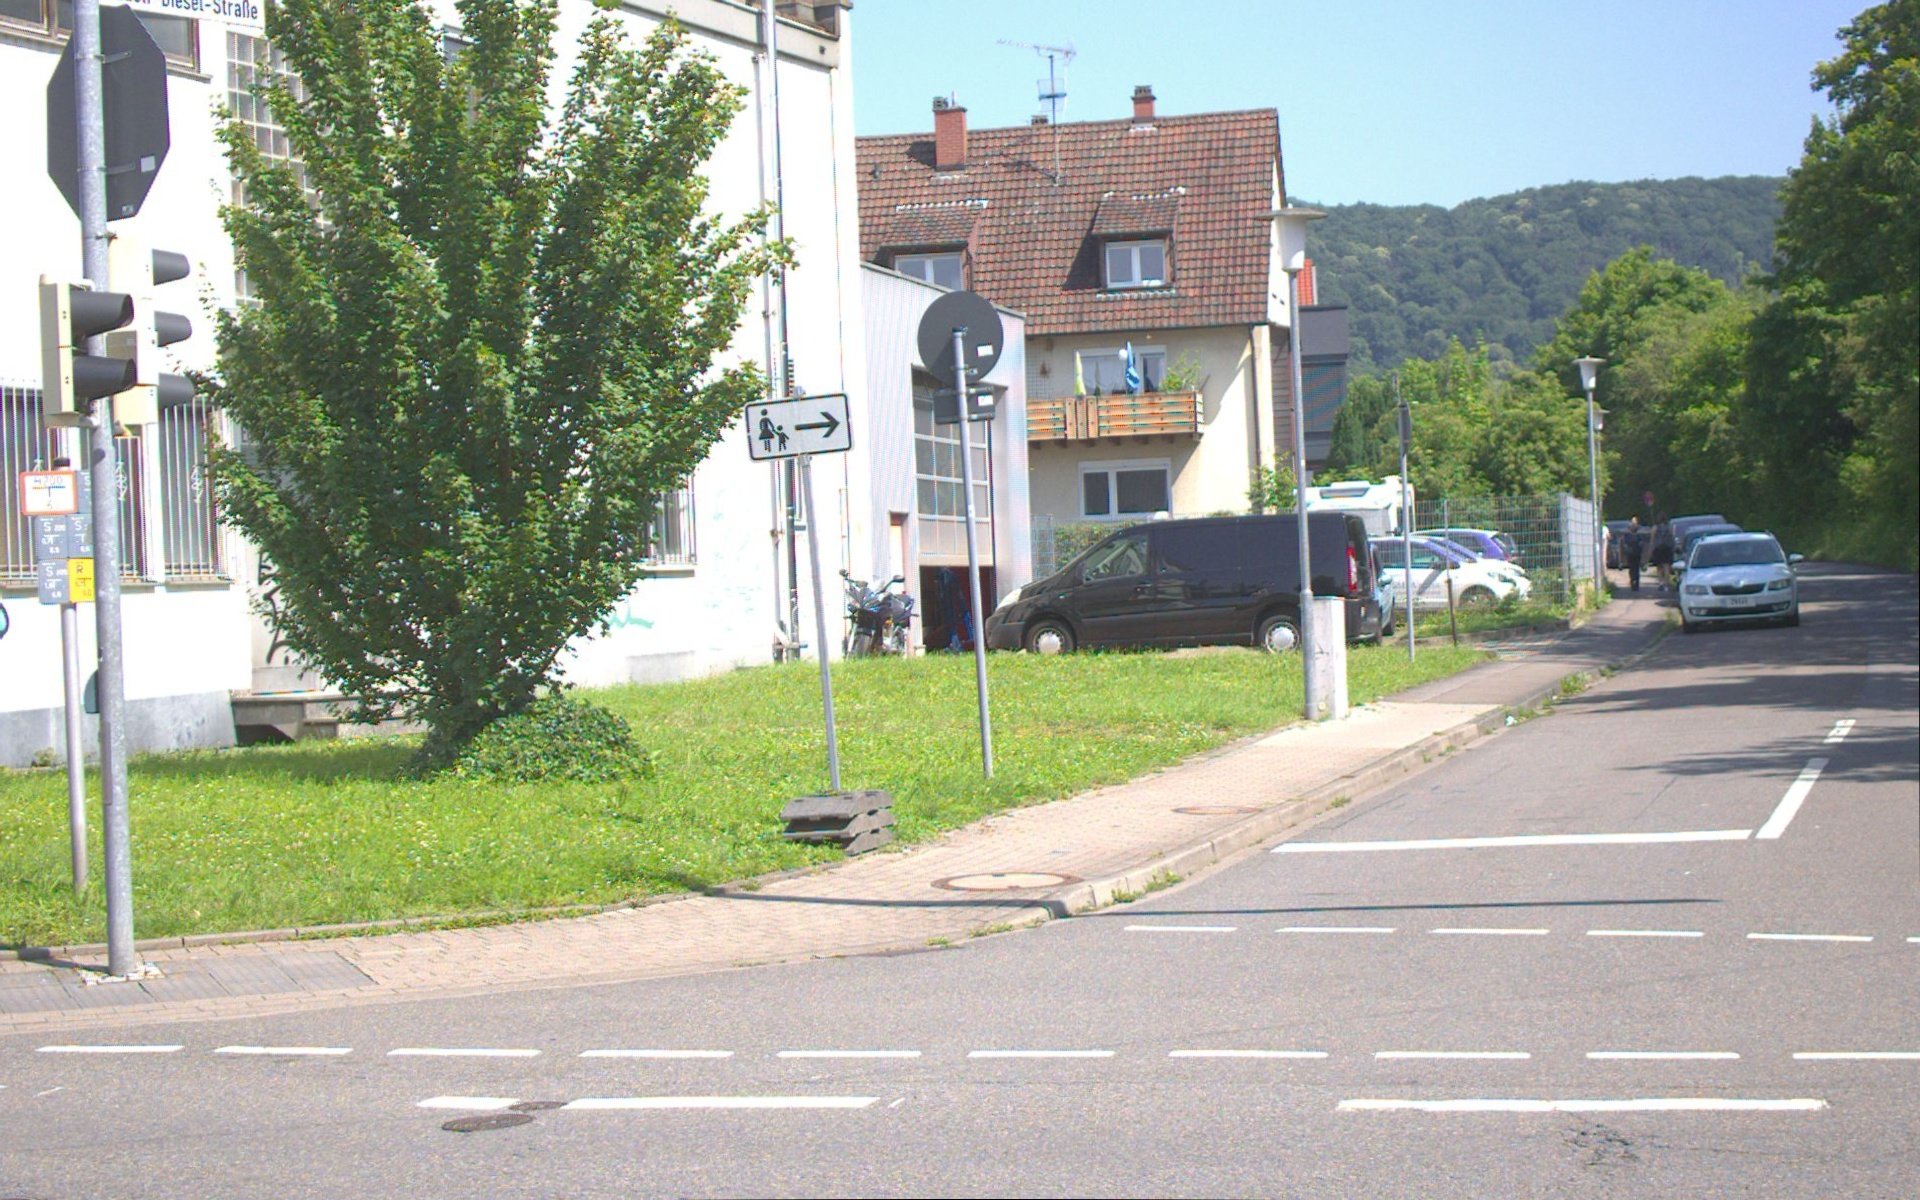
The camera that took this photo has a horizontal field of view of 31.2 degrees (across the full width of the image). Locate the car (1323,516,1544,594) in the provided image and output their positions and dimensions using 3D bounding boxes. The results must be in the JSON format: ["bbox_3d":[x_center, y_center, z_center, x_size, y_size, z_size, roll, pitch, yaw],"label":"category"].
[{"bbox_3d":[8.491,-0.792,61.560,3.723,1.367,1.603,0,0,16],"label":"car"}]

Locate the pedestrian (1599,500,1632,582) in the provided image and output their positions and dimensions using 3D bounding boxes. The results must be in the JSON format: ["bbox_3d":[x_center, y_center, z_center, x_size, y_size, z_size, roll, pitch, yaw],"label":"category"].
[{"bbox_3d":[14.175,-1.273,74.316,0.654,1.757,0.803,0,-1,14],"label":"pedestrian"}]

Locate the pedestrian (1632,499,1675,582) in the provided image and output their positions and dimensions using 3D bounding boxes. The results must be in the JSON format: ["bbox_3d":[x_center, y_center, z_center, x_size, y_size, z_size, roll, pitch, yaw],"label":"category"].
[{"bbox_3d":[14.956,-1.277,74.116,0.876,1.757,0.730,0,-1,14],"label":"pedestrian"}]

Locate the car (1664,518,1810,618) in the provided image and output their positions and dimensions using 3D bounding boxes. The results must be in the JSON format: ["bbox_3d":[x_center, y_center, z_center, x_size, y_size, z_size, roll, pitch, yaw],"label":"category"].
[{"bbox_3d":[12.285,-0.531,54.167,2.088,1.505,4.536,0,1,15],"label":"car"}]

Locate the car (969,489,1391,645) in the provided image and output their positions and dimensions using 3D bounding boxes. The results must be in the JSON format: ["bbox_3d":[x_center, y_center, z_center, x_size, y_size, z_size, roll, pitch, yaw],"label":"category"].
[{"bbox_3d":[2.943,-0.428,45.657,5.251,1.810,1.999,-2,0,14],"label":"car"}]

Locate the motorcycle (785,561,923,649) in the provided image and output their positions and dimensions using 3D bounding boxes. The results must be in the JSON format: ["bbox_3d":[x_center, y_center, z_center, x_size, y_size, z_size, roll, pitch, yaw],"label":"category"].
[{"bbox_3d":[-1.259,0.068,41.507,0.852,1.028,2.565,0,0,18],"label":"motorcycle"}]

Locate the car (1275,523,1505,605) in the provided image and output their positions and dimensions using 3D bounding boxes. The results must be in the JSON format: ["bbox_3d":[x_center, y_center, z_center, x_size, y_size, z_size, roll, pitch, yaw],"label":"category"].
[{"bbox_3d":[7.389,-0.600,59.028,3.723,1.367,1.603,0,0,16],"label":"car"}]
